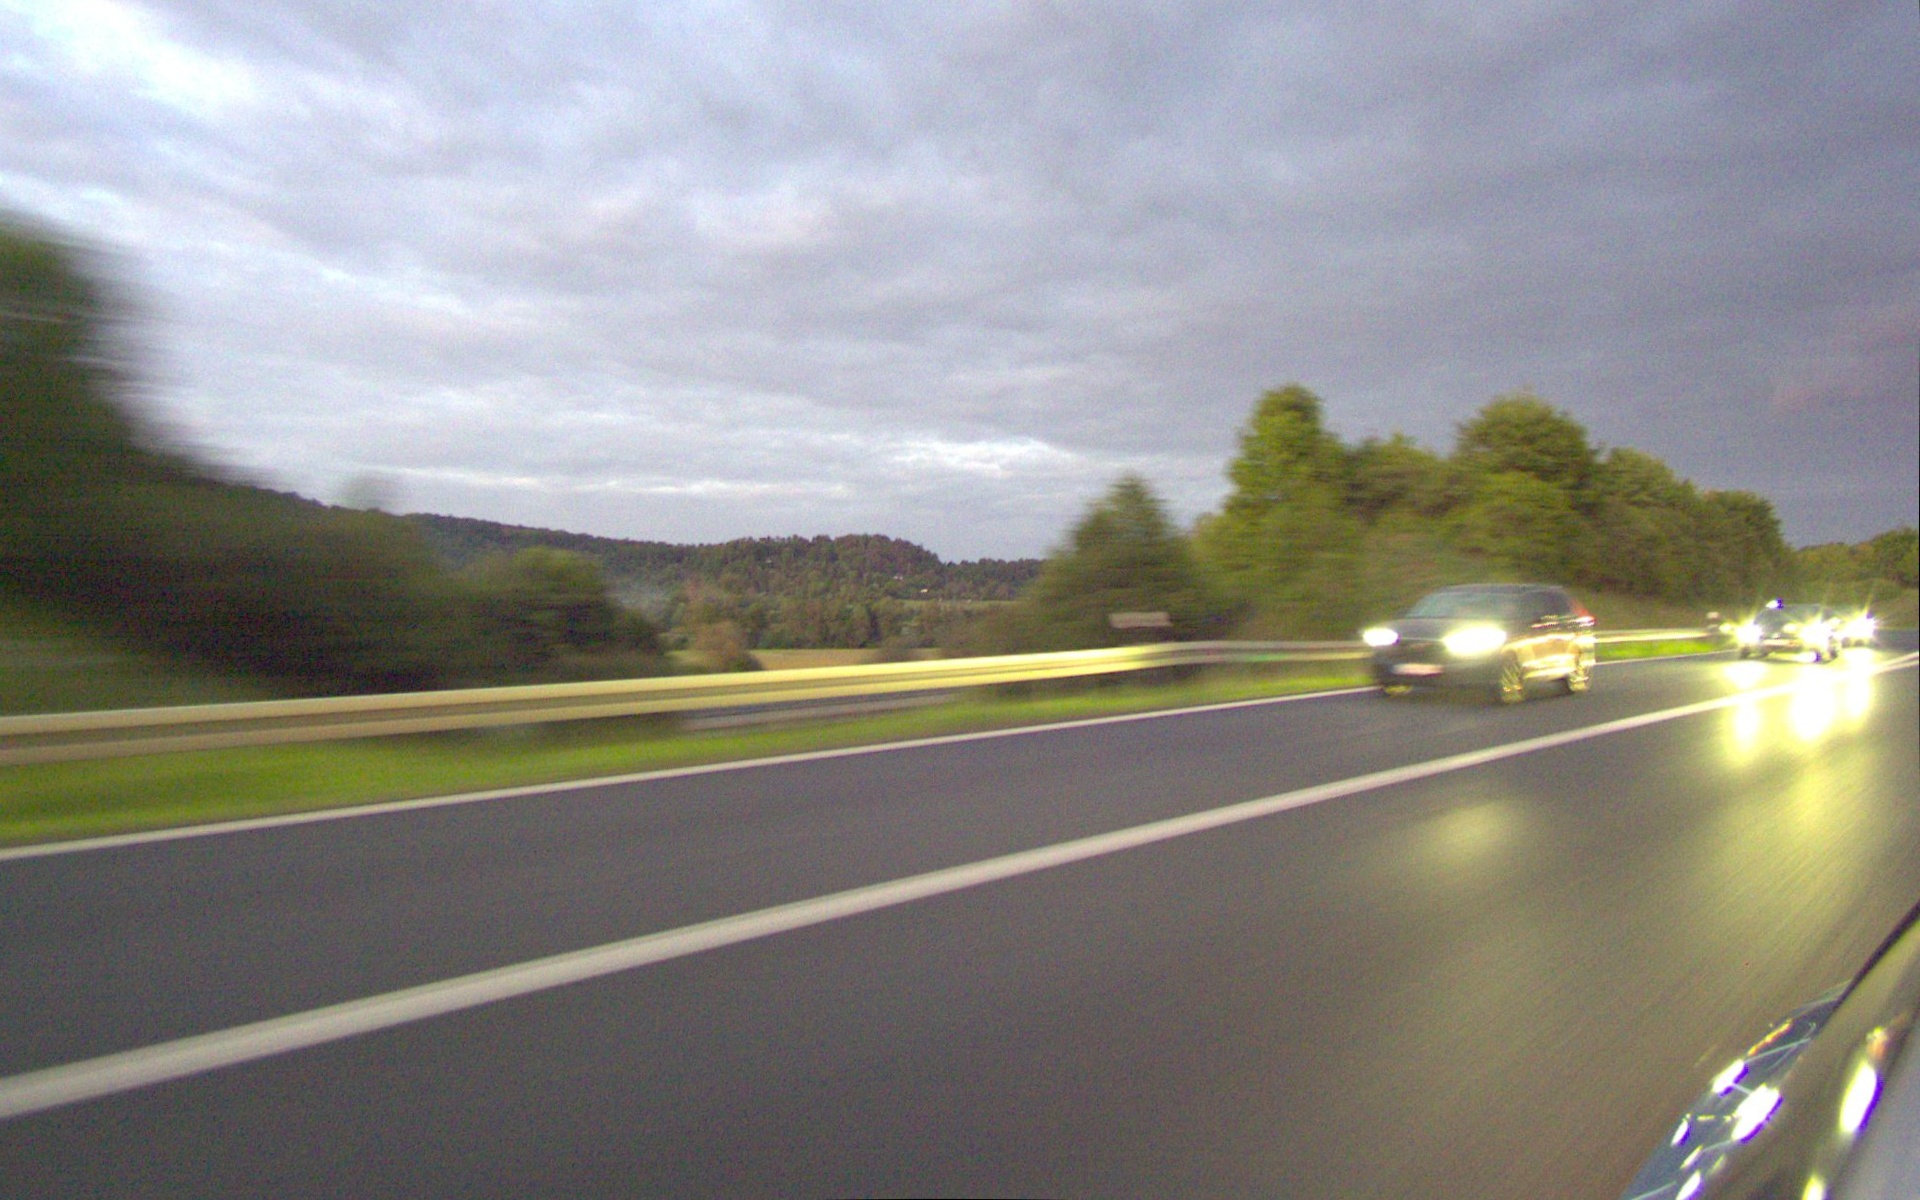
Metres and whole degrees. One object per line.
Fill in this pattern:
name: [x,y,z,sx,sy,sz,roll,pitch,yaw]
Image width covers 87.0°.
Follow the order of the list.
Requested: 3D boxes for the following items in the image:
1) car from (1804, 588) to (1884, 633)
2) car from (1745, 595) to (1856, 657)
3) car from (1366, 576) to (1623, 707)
car: [32.541,0.390,37.225,4.362,1.511,1.798,0,-3,-44]
car: [22.830,0.643,27.413,5.033,1.510,1.799,0,1,-44]
car: [8.157,0.505,15.193,5.072,1.666,1.800,0,1,-42]
